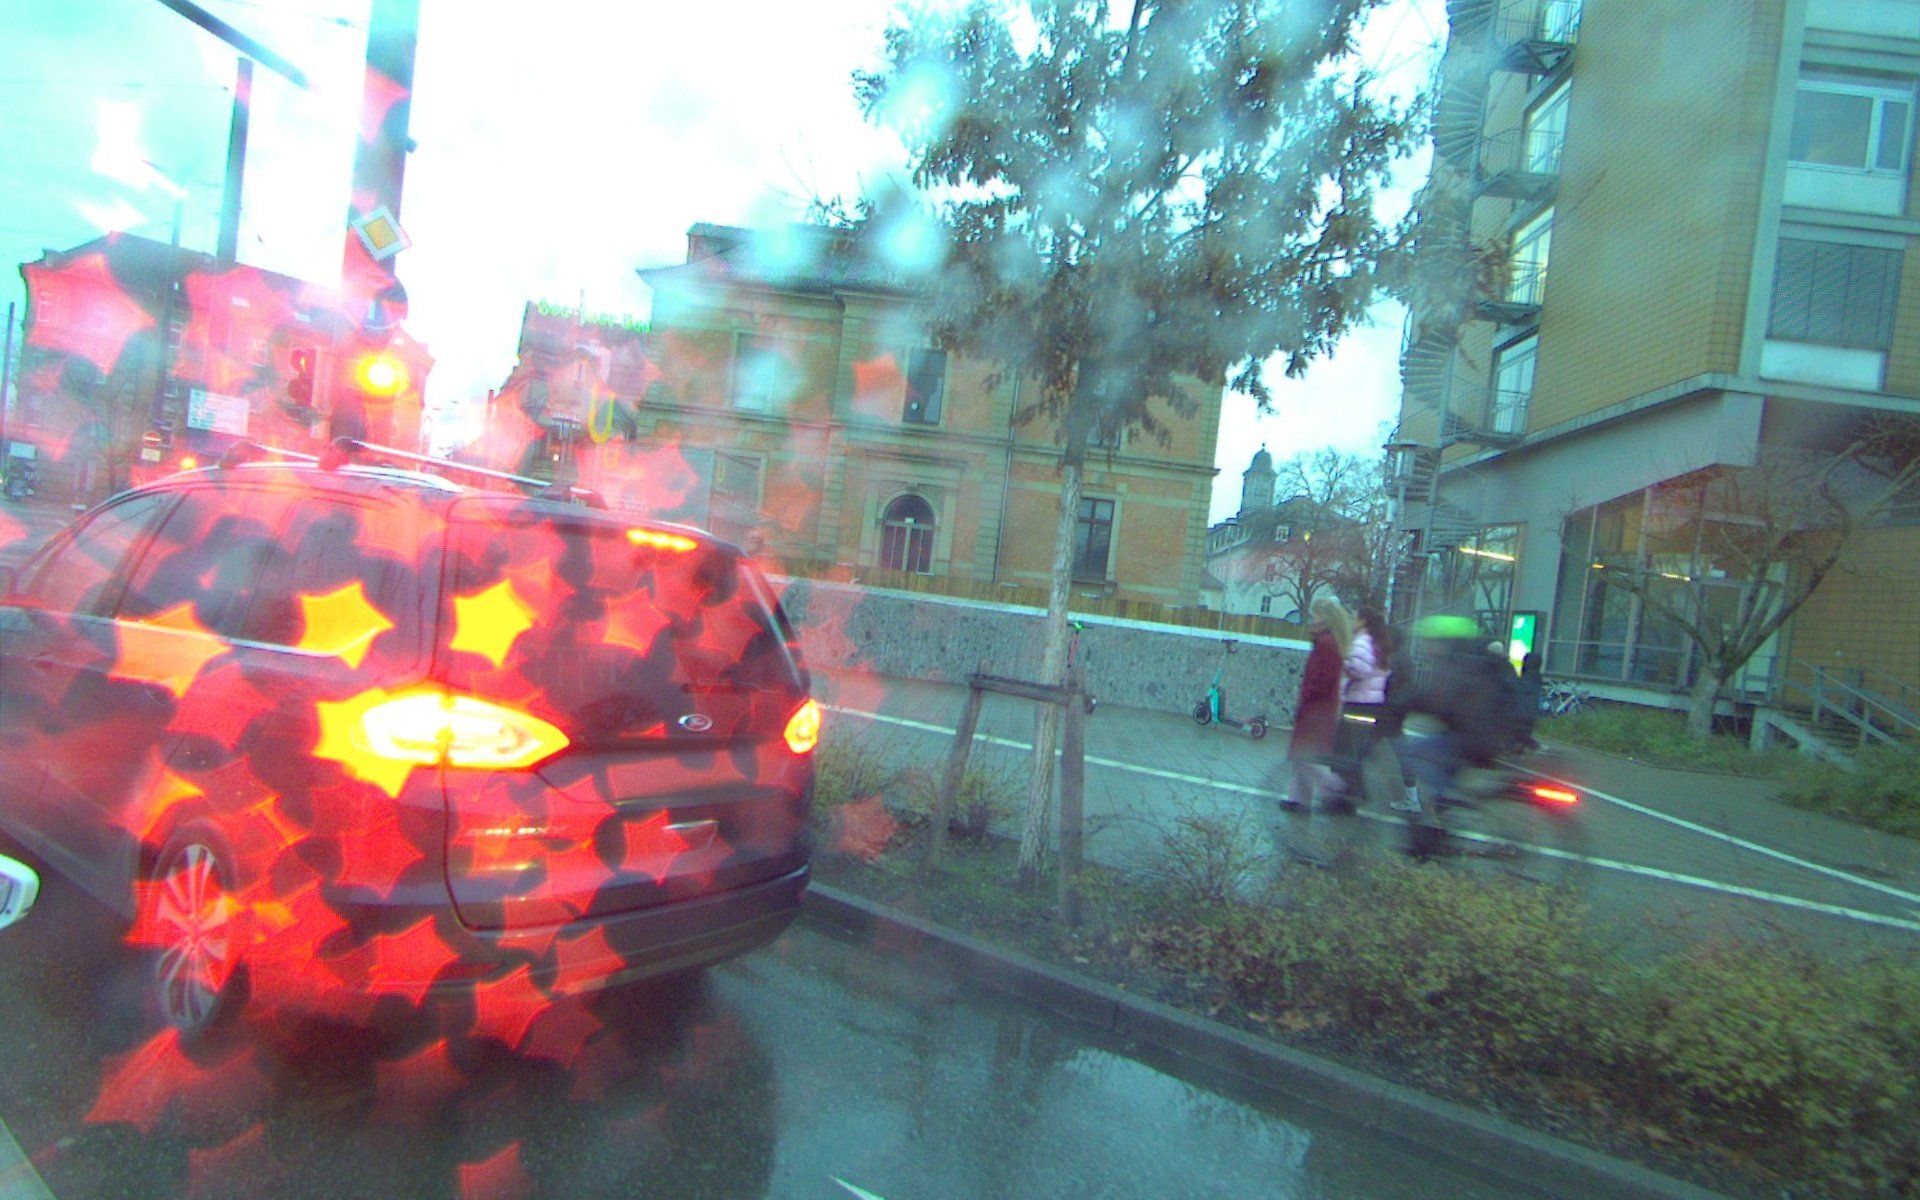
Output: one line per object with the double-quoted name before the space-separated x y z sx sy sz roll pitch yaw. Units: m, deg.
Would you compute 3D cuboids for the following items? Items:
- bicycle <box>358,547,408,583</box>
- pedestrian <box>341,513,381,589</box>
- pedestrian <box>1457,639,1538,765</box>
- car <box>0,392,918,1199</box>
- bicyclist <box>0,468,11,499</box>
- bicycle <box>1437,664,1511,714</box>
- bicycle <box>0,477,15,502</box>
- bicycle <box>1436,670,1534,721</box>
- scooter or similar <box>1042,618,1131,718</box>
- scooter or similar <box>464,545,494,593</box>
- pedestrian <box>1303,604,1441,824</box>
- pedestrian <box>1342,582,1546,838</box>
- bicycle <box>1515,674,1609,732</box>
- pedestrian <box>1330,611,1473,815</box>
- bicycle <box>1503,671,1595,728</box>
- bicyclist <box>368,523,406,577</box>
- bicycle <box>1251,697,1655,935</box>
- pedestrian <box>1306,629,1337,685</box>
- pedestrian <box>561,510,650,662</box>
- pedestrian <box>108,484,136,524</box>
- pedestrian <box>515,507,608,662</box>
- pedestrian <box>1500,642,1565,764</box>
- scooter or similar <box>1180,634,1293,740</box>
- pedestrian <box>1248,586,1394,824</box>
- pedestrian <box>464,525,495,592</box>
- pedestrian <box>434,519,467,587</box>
"bicycle" -17.976 -1.085 31.396 0.684 0.993 2.009 6 0 -12
"pedestrian" -16.415 -1.338 27.591 0.668 1.975 0.673 6 1 -20
"pedestrian" 8.309 1.547 15.588 0.735 1.814 0.854 7 1 14
"car" -2.537 0.309 4.102 4.353 1.822 1.779 7 0 34
"bicyclist" -58.960 -7.177 61.349 1.052 1.791 1.050 6 1 3
"bicycle" 13.809 2.389 27.036 1.764 1.116 0.390 7 1 -7
"bicycle" -58.976 -6.832 61.225 2.167 1.394 0.697 7 1 2
"bicycle" 13.563 2.450 26.019 2.021 1.004 0.708 7 1 7
"scooter or similar" 1.751 0.927 14.107 0.507 1.229 1.375 6 1 -23
"scooter or similar" -14.496 -0.936 30.306 0.670 1.334 0.821 6 1 -28
"pedestrian" 3.453 0.937 8.442 0.663 1.711 0.606 4 4 -34
"pedestrian" 2.929 0.625 6.069 0.835 1.333 0.874 7 1 36
"bicycle" 14.016 2.395 23.439 1.761 1.116 0.401 7 1 7
"pedestrian" 3.992 1.005 9.110 0.713 1.709 0.753 6 1 -34
"bicycle" 14.084 2.368 24.080 1.761 1.116 0.442 7 1 7
"bicyclist" -17.913 -1.549 31.449 0.684 1.595 0.777 6 1 -12
"bicycle" 2.908 1.211 6.094 2.063 0.959 0.561 6 1 36
"pedestrian" 11.411 1.792 31.749 0.652 1.678 0.788 7 1 25
"pedestrian" -5.120 -0.201 14.522 0.802 2.039 0.753 8 2 -34
"pedestrian" -46.949 -5.370 56.339 0.774 2.039 0.731 6 1 3
"pedestrian" -5.428 -0.212 13.685 0.802 1.954 0.753 8 2 -34
"pedestrian" 8.934 1.590 15.721 0.549 1.814 0.584 7 1 14
"scooter or similar" 3.700 1.151 13.533 0.509 1.229 1.371 6 1 -31
"pedestrian" 2.919 0.824 8.175 0.579 1.805 0.762 4 2 -33
"pedestrian" -14.802 -1.285 30.966 0.670 1.975 0.657 6 1 -28
"pedestrian" -15.480 -1.438 30.558 0.671 1.975 0.656 6 1 -31
